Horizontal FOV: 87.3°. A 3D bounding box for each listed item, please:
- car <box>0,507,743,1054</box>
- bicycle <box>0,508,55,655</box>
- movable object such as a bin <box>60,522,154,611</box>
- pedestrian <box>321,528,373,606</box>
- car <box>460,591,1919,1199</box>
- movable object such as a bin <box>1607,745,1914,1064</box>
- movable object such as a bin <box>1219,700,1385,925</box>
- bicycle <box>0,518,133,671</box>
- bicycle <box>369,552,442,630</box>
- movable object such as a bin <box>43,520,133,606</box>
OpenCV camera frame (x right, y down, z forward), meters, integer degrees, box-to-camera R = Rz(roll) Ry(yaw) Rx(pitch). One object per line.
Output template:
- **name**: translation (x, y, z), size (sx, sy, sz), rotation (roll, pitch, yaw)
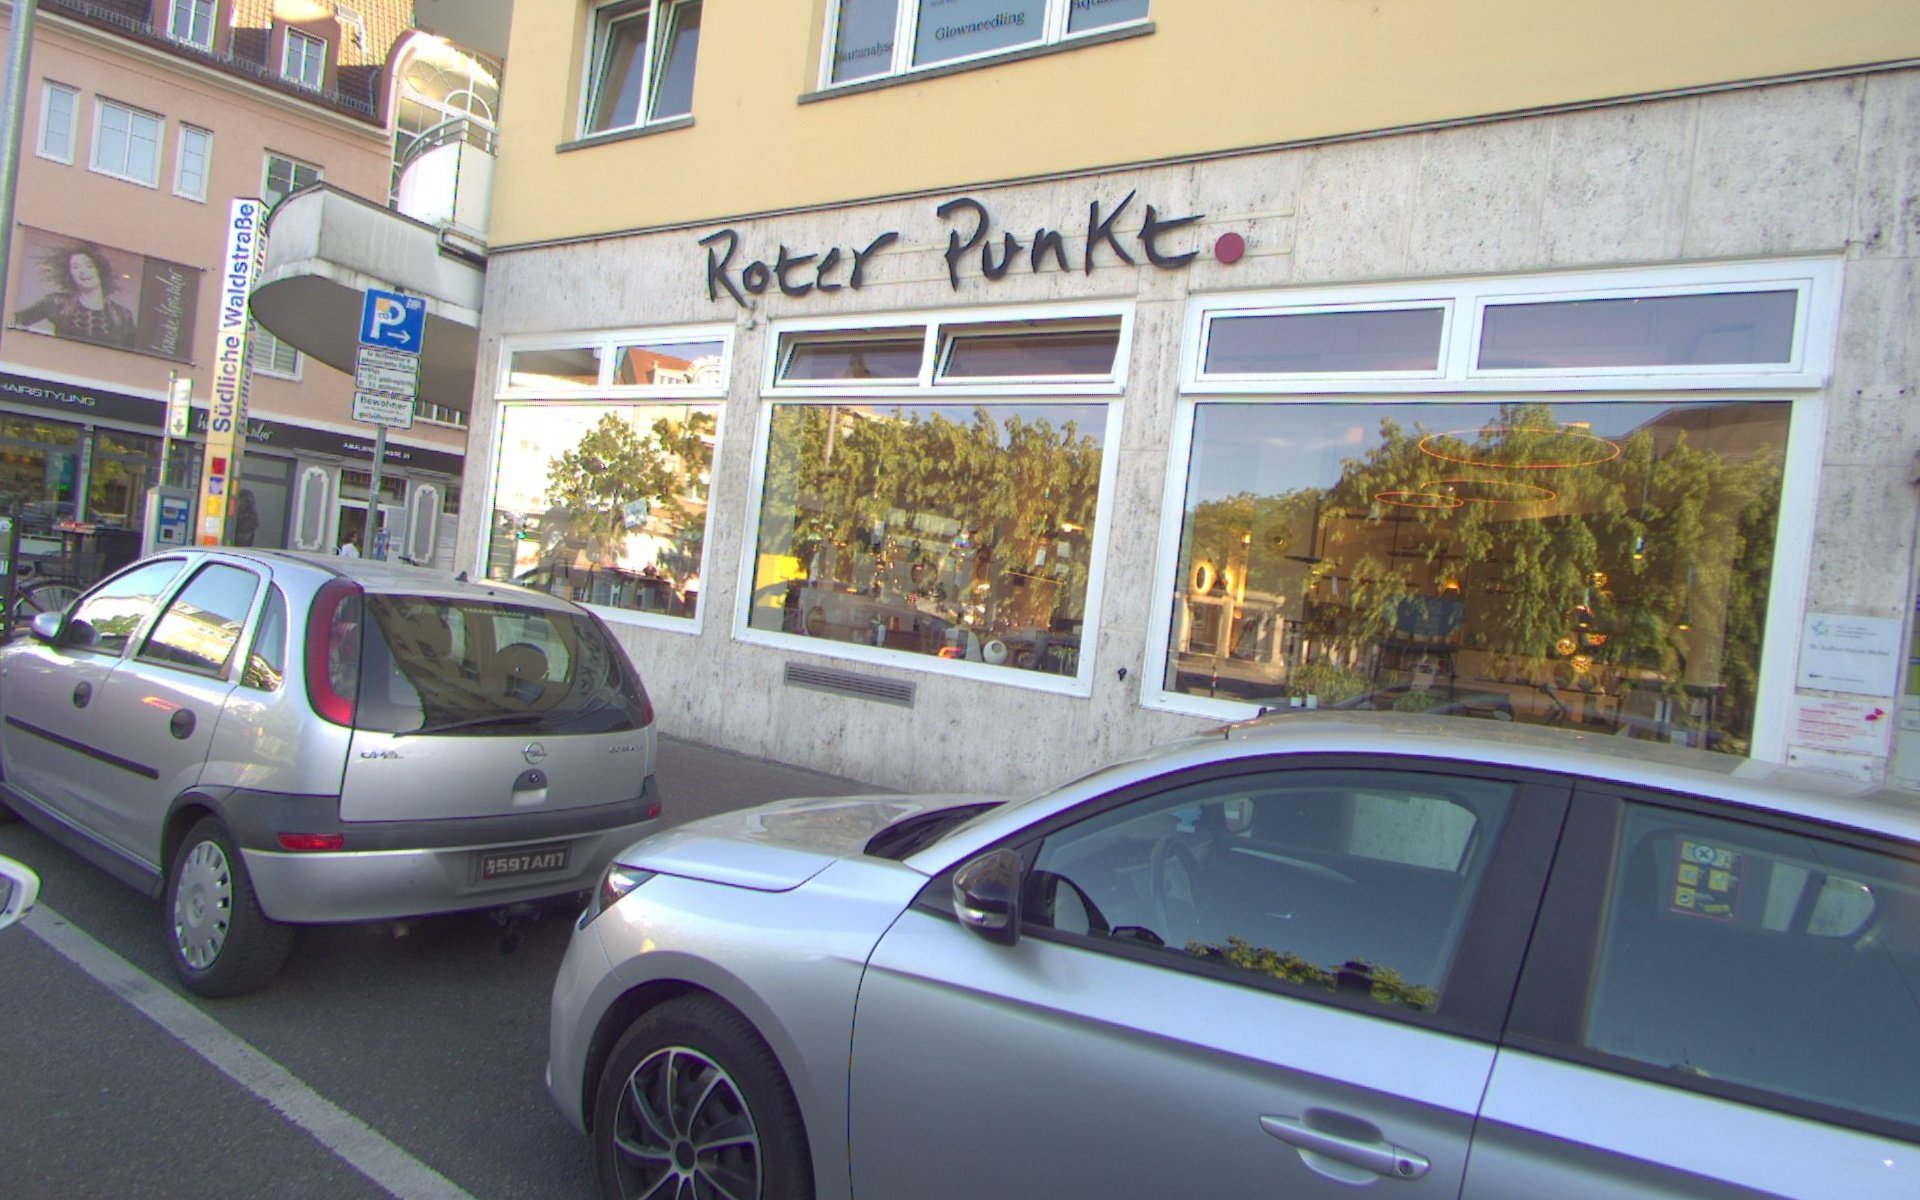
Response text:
- **car**: translation (-2.914, 0.487, 4.460), size (3.583, 1.397, 1.616), rotation (7, -2, 32)
- **bicycle**: translation (-9.089, -0.229, 8.691), size (0.778, 1.284, 1.721), rotation (7, 1, 37)
- **movable object such as a bin**: translation (-11.880, -0.462, 14.017), size (0.617, 1.105, 0.754), rotation (6, -1, 34)
- **pedestrian**: translation (-13.137, -0.711, 21.552), size (0.743, 1.571, 0.692), rotation (7, 0, -38)
- **car**: translation (0.800, 0.932, 2.298), size (3.643, 1.415, 1.653), rotation (7, -1, 30)
- **movable object such as a bin**: translation (3.465, 1.263, 4.462), size (0.879, 1.066, 0.751), rotation (7, 0, 32)
- **movable object such as a bin**: translation (1.886, 1.107, 5.502), size (0.592, 1.041, 0.811), rotation (7, 0, 32)
- **bicycle**: translation (-8.084, -0.078, 8.217), size (0.681, 1.208, 1.885), rotation (8, 1, 37)
- **bicycle**: translation (-9.895, -0.189, 17.916), size (0.656, 1.213, 2.187), rotation (7, -1, -39)
- **movable object such as a bin**: translation (-12.416, -0.520, 14.338), size (0.617, 1.105, 0.734), rotation (6, -1, 34)
